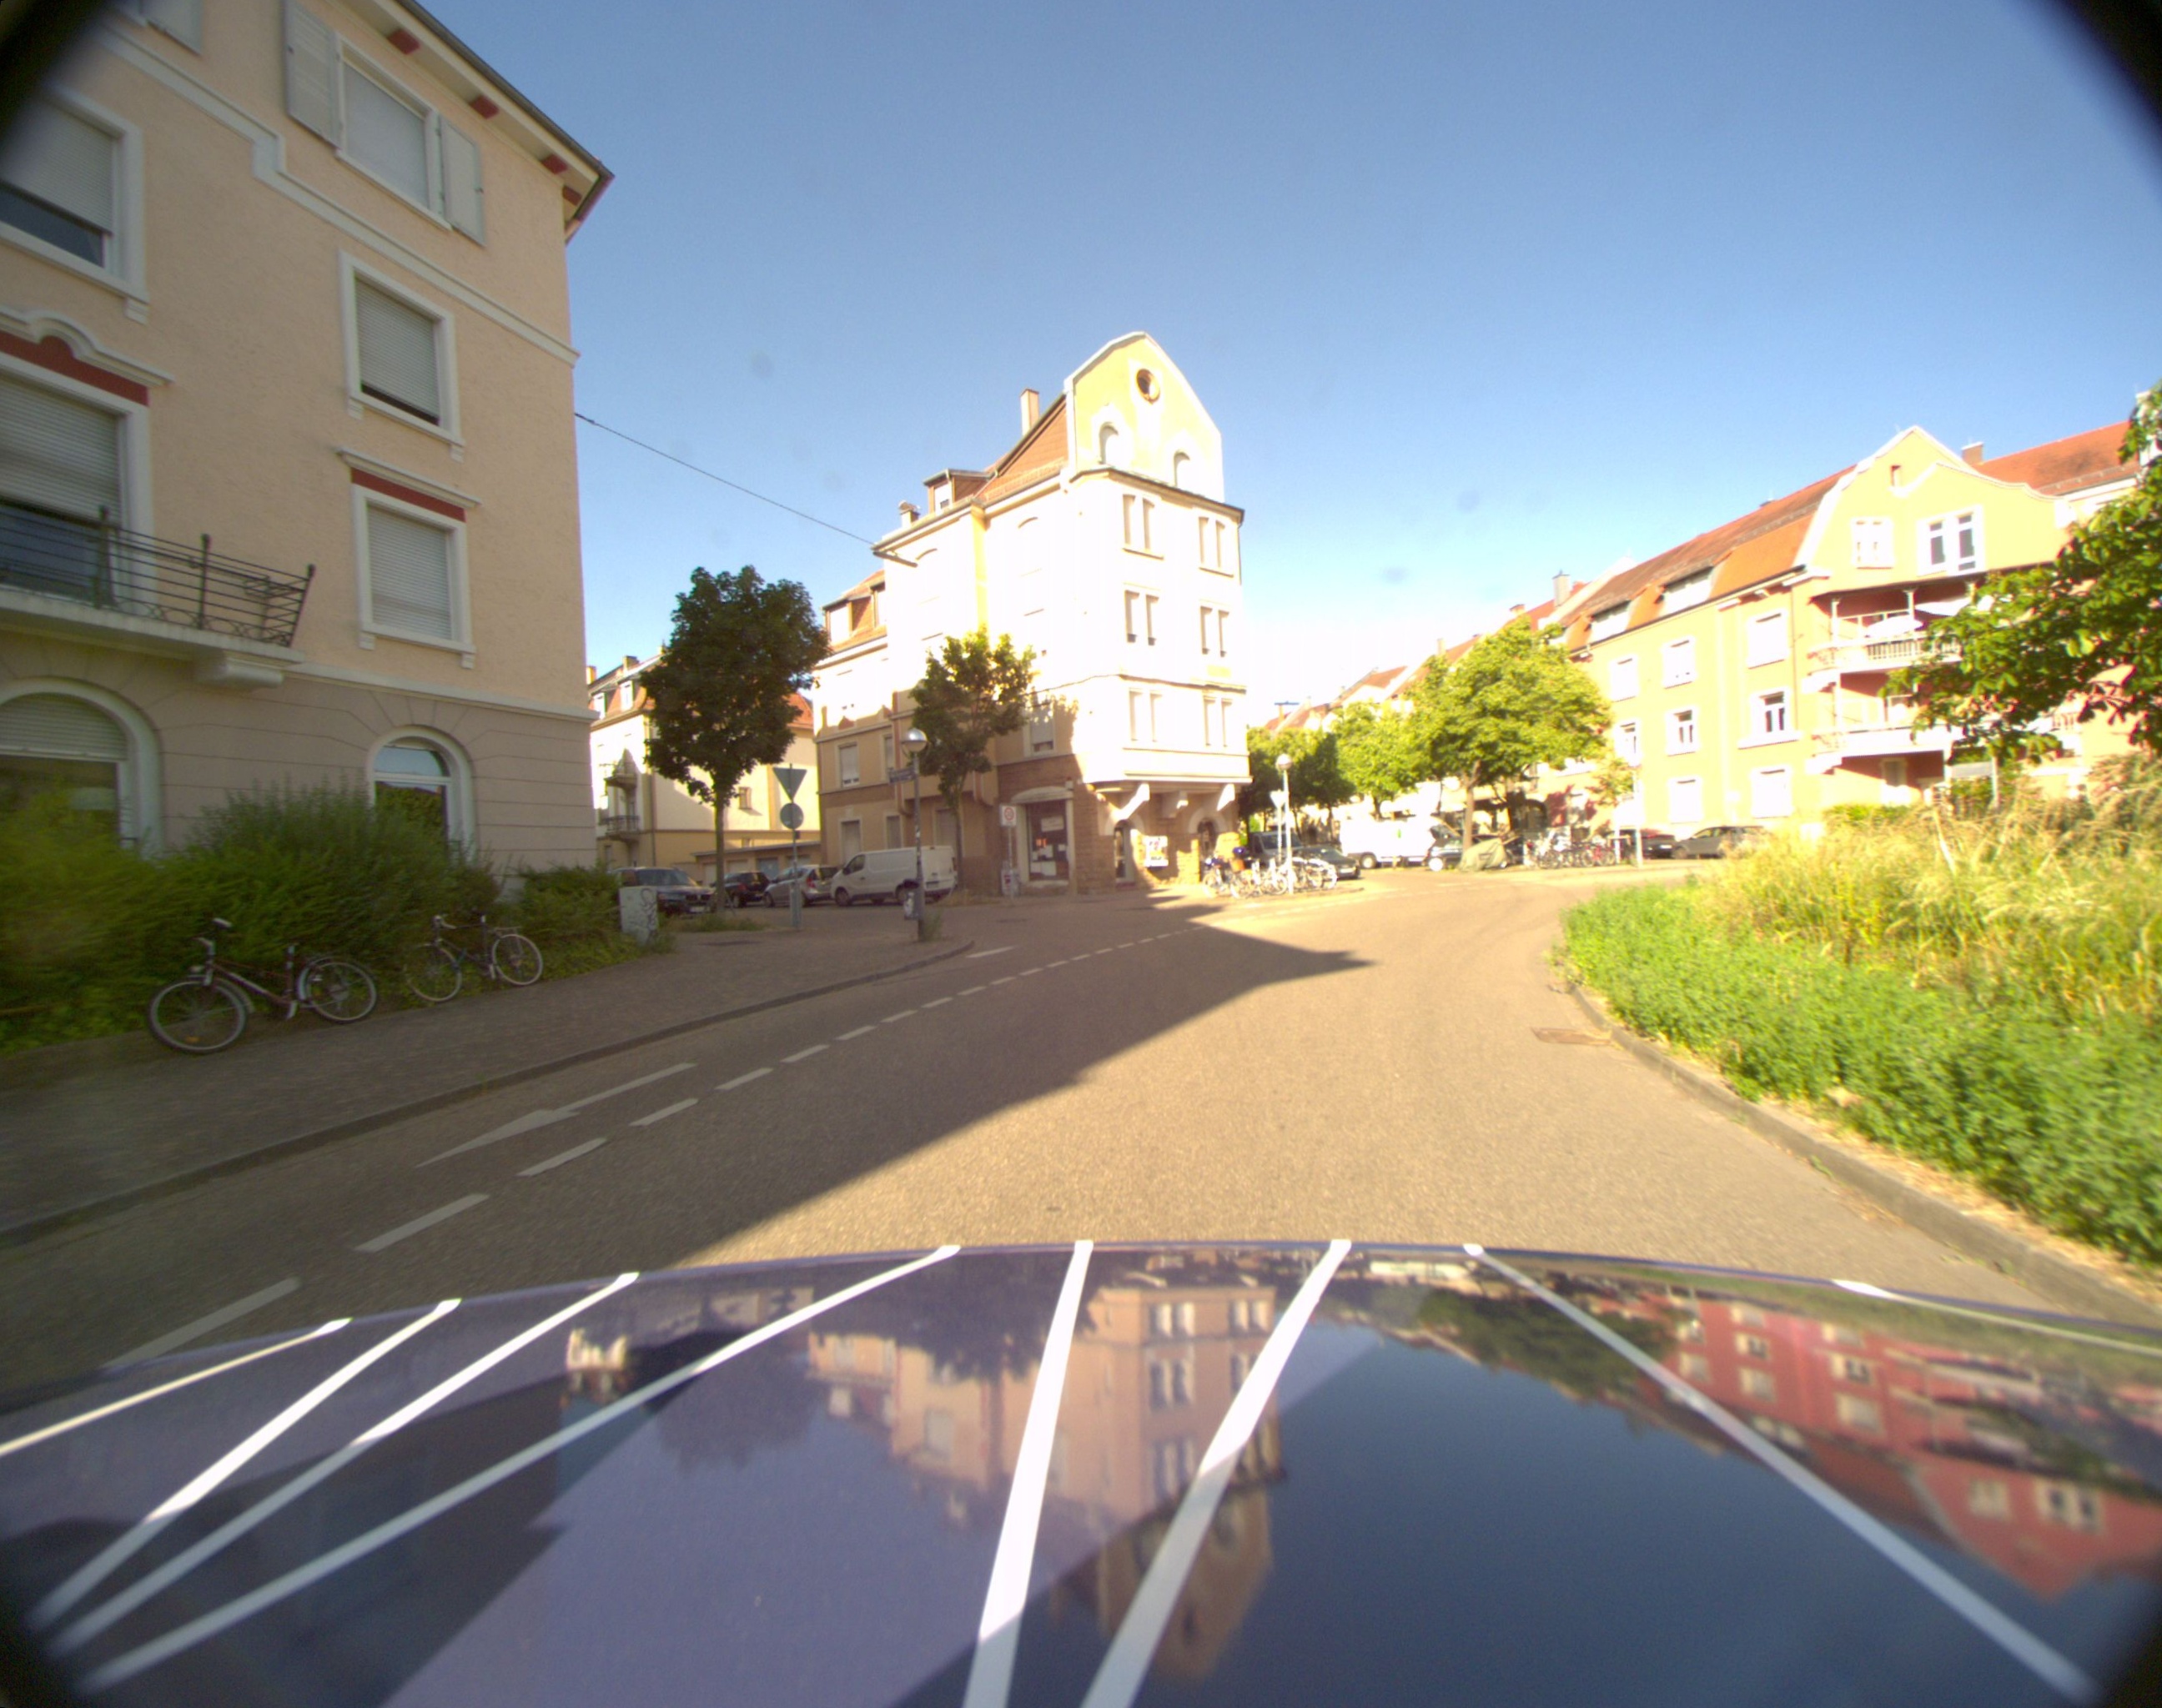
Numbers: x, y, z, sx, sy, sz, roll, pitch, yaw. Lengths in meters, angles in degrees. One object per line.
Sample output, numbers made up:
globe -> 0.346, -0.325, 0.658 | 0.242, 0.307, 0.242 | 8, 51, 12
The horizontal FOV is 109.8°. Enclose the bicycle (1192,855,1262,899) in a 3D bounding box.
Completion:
bicycle -> 3.984, 0.634, 20.896 | 0.700, 1.123, 1.863 | -5, 1, -35

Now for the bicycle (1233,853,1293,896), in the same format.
bicycle -> 5.167, 0.579, 21.682 | 0.639, 1.139, 1.693 | -4, 1, -29

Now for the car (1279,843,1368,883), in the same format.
car -> 9.681, 0.347, 30.674 | 1.688, 1.382, 3.918 | -4, 0, -10

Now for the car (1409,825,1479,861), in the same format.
car -> 20.024, -0.567, 42.067 | 3.376, 1.854, 1.691 | -2, 0, 22

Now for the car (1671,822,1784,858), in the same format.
car -> 28.046, -0.560, 33.106 | 1.688, 1.438, 3.544 | -2, 0, -7

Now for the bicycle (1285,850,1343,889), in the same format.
bicycle -> 7.059, 0.480, 23.076 | 0.484, 1.117, 1.715 | -4, 1, -35

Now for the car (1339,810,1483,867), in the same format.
car -> 16.611, -0.711, 38.493 | 6.359, 2.585, 2.108 | -2, 0, 34

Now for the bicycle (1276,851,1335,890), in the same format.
bicycle -> 6.700, 0.500, 22.731 | 0.484, 1.117, 1.692 | -4, 1, -37

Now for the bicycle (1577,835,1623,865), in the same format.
bicycle -> 19.869, -0.139, 29.128 | 0.500, 1.096, 1.649 | -4, 1, -4

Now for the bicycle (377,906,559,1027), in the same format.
bicycle -> -6.675, 1.175, 8.396 | 0.502, 1.082, 1.687 | -1, 0, 5

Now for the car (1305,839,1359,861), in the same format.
car -> 18.420, -0.293, 55.779 | 3.375, 1.461, 1.691 | -2, 0, 31

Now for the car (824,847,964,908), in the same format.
car -> -6.632, 0.831, 26.779 | 4.549, 1.898, 2.145 | -3, 0, 33

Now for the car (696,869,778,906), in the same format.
car -> -14.647, 1.443, 32.316 | 3.325, 1.419, 1.641 | -3, 0, 35

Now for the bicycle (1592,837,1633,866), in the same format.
bicycle -> 20.842, -0.113, 29.804 | 0.419, 1.080, 1.526 | -4, 1, -3

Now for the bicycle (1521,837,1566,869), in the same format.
bicycle -> 17.706, -0.040, 29.121 | 0.538, 1.186, 1.679 | -4, 1, -6

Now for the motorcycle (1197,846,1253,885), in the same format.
motorcycle -> 5.396, 0.404, 28.365 | 2.255, 1.403, 0.698 | -1, 0, -38

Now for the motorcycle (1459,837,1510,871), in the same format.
motorcycle -> 15.810, -0.003, 29.764 | 1.710, 1.263, 0.538 | -2, 1, -2

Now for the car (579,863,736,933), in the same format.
car -> -11.423, 1.178, 20.400 | 4.335, 1.632, 1.912 | -3, 0, 35

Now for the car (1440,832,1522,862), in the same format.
car -> 20.774, -0.372, 39.585 | 3.379, 1.438, 1.689 | -2, 0, 7

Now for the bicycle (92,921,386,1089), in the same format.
bicycle -> -6.999, 1.194, 6.463 | 0.502, 1.082, 1.687 | -1, 0, 5

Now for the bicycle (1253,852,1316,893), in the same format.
bicycle -> 5.898, 0.539, 22.120 | 0.618, 1.139, 1.692 | -4, 1, -37

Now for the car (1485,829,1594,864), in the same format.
car -> 20.576, -0.314, 34.250 | 3.914, 1.438, 1.690 | -2, 0, 18

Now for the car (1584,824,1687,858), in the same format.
car -> 27.554, -0.625, 37.950 | 1.688, 1.553, 4.292 | -2, 0, -7

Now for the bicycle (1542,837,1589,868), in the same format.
bicycle -> 18.503, -0.064, 29.055 | 0.589, 1.120, 1.601 | -4, 1, -6

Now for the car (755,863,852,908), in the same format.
car -> -10.899, 1.253, 29.772 | 3.728, 1.563, 1.641 | -3, 0, 35

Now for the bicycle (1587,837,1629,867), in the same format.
bicycle -> 20.387, -0.092, 29.430 | 0.419, 1.083, 1.573 | -5, 1, -4

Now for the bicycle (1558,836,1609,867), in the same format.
bicycle -> 19.214, -0.092, 29.104 | 0.657, 1.082, 1.729 | -4, 0, -6

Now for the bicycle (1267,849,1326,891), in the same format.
bicycle -> 6.362, 0.489, 22.466 | 0.452, 1.184, 1.692 | -4, 1, -37

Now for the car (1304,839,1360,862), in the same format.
car -> 17.563, -0.229, 53.217 | 3.375, 1.461, 1.691 | -2, 0, 31

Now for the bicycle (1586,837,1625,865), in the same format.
bicycle -> 21.485, -0.116, 31.158 | 0.419, 1.080, 1.526 | -4, 1, -3

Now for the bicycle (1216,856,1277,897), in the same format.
bicycle -> 4.626, 0.631, 21.354 | 0.536, 1.084, 1.875 | -4, 1, -29

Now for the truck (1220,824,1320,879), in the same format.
truck -> 8.829, -0.100, 36.300 | 2.139, 2.279, 6.616 | -4, 0, -9
